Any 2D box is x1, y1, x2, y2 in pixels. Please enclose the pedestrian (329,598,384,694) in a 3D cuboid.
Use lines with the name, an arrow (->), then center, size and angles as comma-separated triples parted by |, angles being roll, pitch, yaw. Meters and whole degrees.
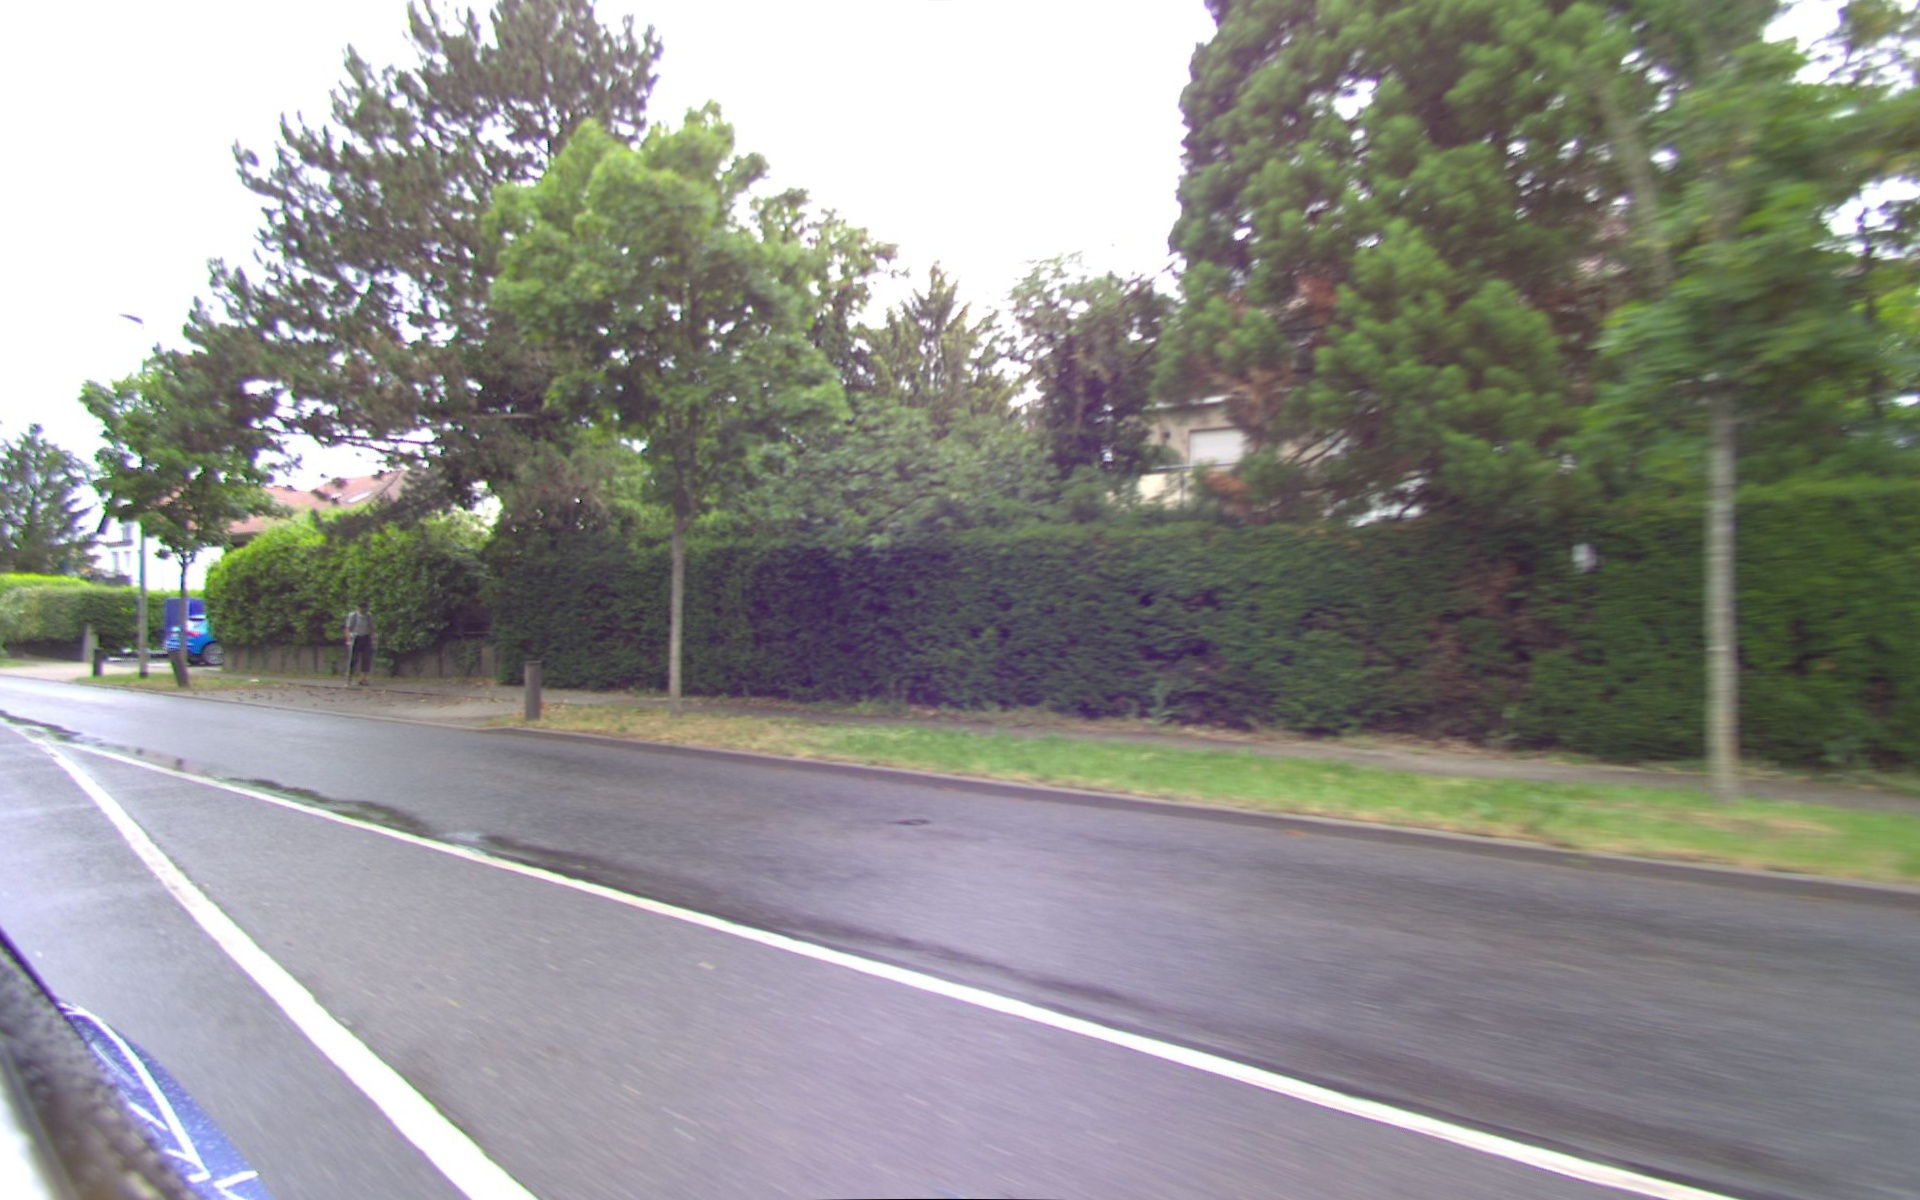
pedestrian -> -11.962, 0.890, 20.047 | 0.881, 1.844, 0.703 | -1, -2, 42

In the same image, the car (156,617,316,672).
car -> -23.191, 1.369, 32.533 | 1.813, 1.598, 3.820 | -1, -1, 34
